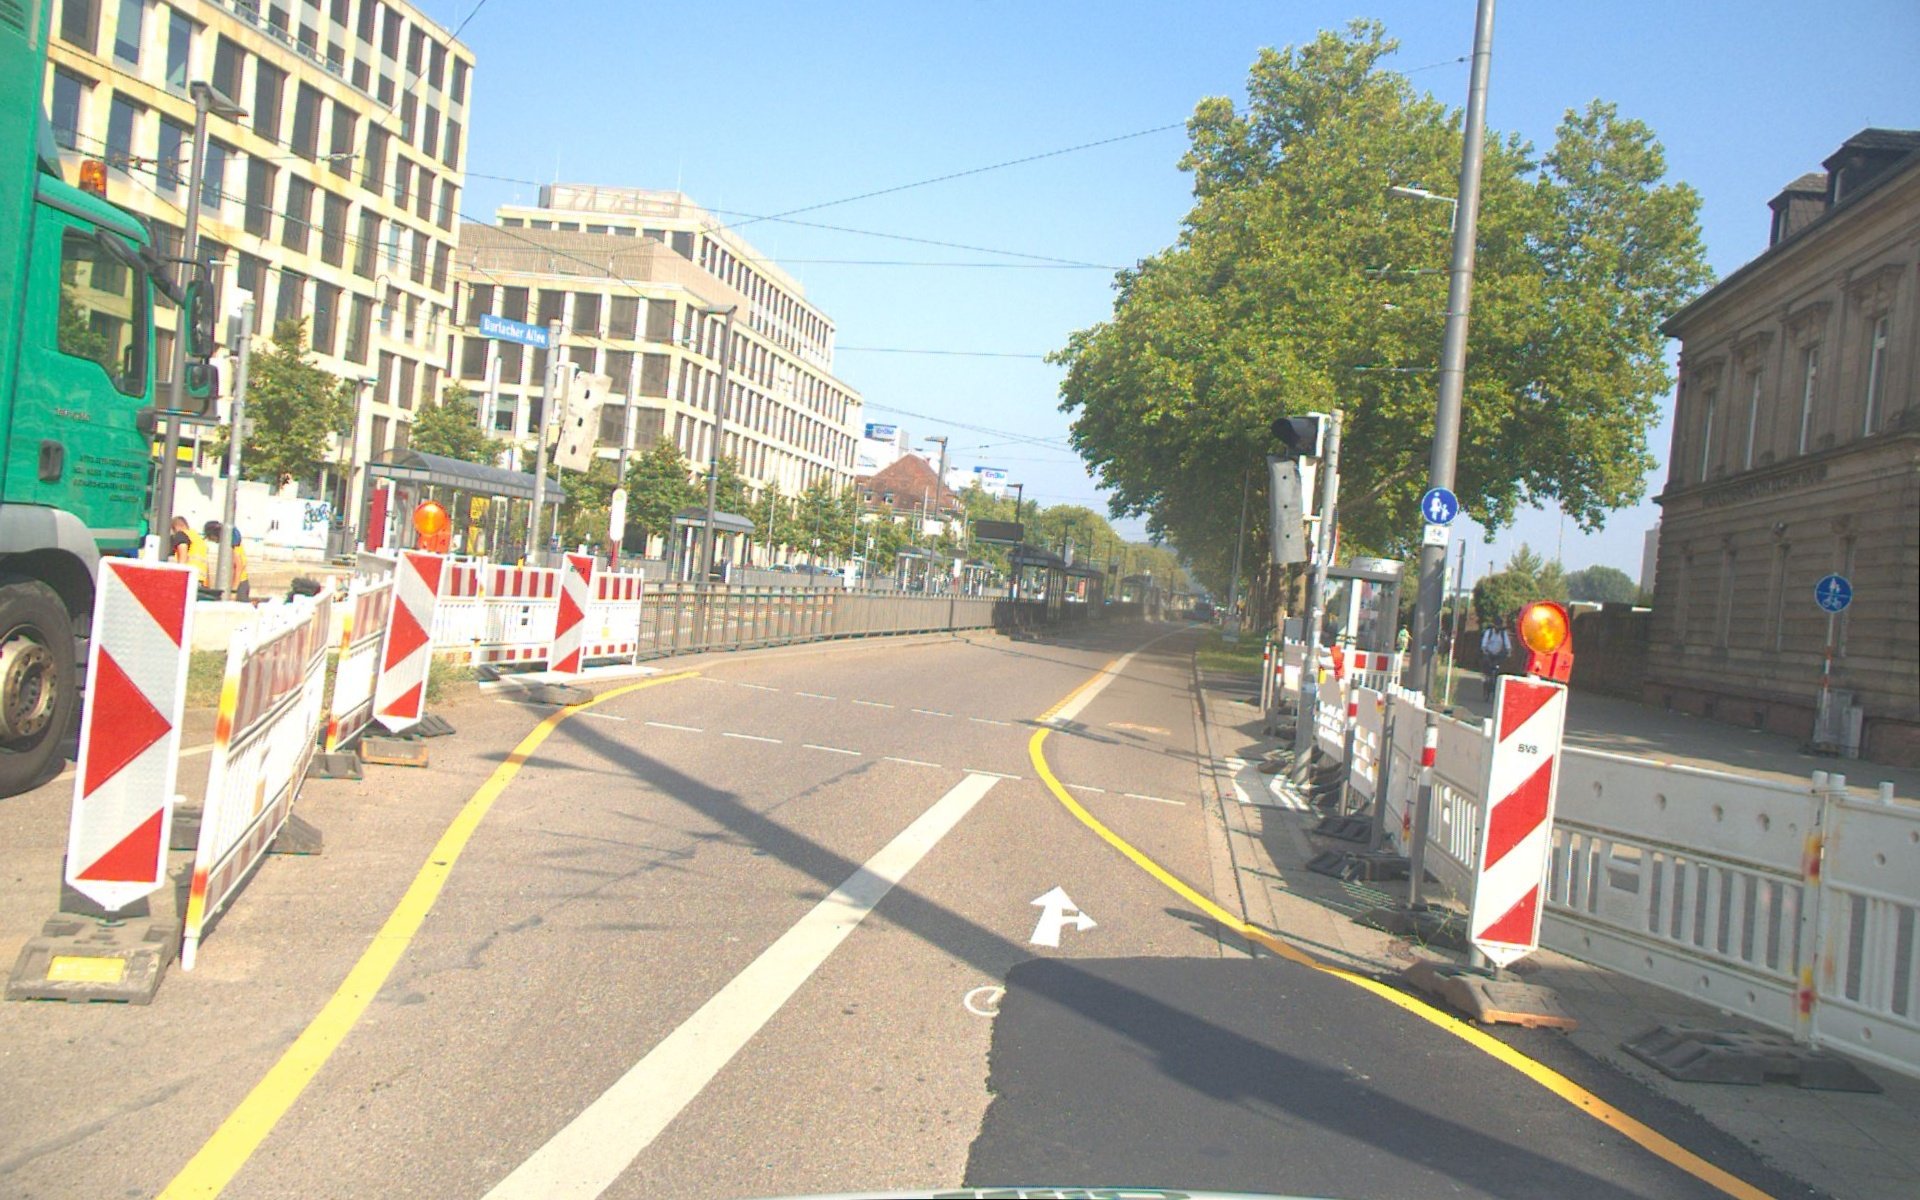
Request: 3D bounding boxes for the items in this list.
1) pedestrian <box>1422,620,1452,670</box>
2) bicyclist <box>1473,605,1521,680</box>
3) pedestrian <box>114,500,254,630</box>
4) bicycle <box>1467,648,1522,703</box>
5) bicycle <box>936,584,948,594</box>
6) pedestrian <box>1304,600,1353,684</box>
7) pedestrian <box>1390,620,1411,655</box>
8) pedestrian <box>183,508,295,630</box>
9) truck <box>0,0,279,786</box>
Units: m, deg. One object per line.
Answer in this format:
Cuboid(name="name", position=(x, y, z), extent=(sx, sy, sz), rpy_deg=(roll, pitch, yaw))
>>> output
Cuboid(name="pedestrian", position=(17.347, 1.616, 60.120), extent=(0.802, 1.715, 1.013), rpy_deg=(5, 0, 9))
Cuboid(name="bicyclist", position=(11.960, 0.929, 36.843), extent=(0.702, 1.569, 0.956), rpy_deg=(6, 1, 7))
Cuboid(name="pedestrian", position=(-8.834, -0.395, 18.835), extent=(1.289, 1.329, 0.796), rpy_deg=(6, 1, 33))
Cuboid(name="bicycle", position=(11.891, 1.658, 36.852), extent=(0.702, 1.059, 1.904), rpy_deg=(6, 1, 7))
Cuboid(name="bicycle", position=(-1.357, -0.854, 126.847), extent=(0.467, 0.673, 1.614), rpy_deg=(6, 0, 13))
Cuboid(name="pedestrian", position=(7.949, 0.902, 35.728), extent=(0.676, 1.725, 0.647), rpy_deg=(5, 0, -12))
Cuboid(name="pedestrian", position=(21.708, 1.851, 81.481), extent=(0.789, 1.631, 0.948), rpy_deg=(4, 0, 9))
Cuboid(name="pedestrian", position=(-8.527, -0.362, 19.577), extent=(0.823, 1.329, 0.796), rpy_deg=(6, 1, 33))
Cuboid(name="truck", position=(-5.249, -1.170, 4.997), extent=(2.620, 3.740, 8.214), rpy_deg=(6, 1, 0))
